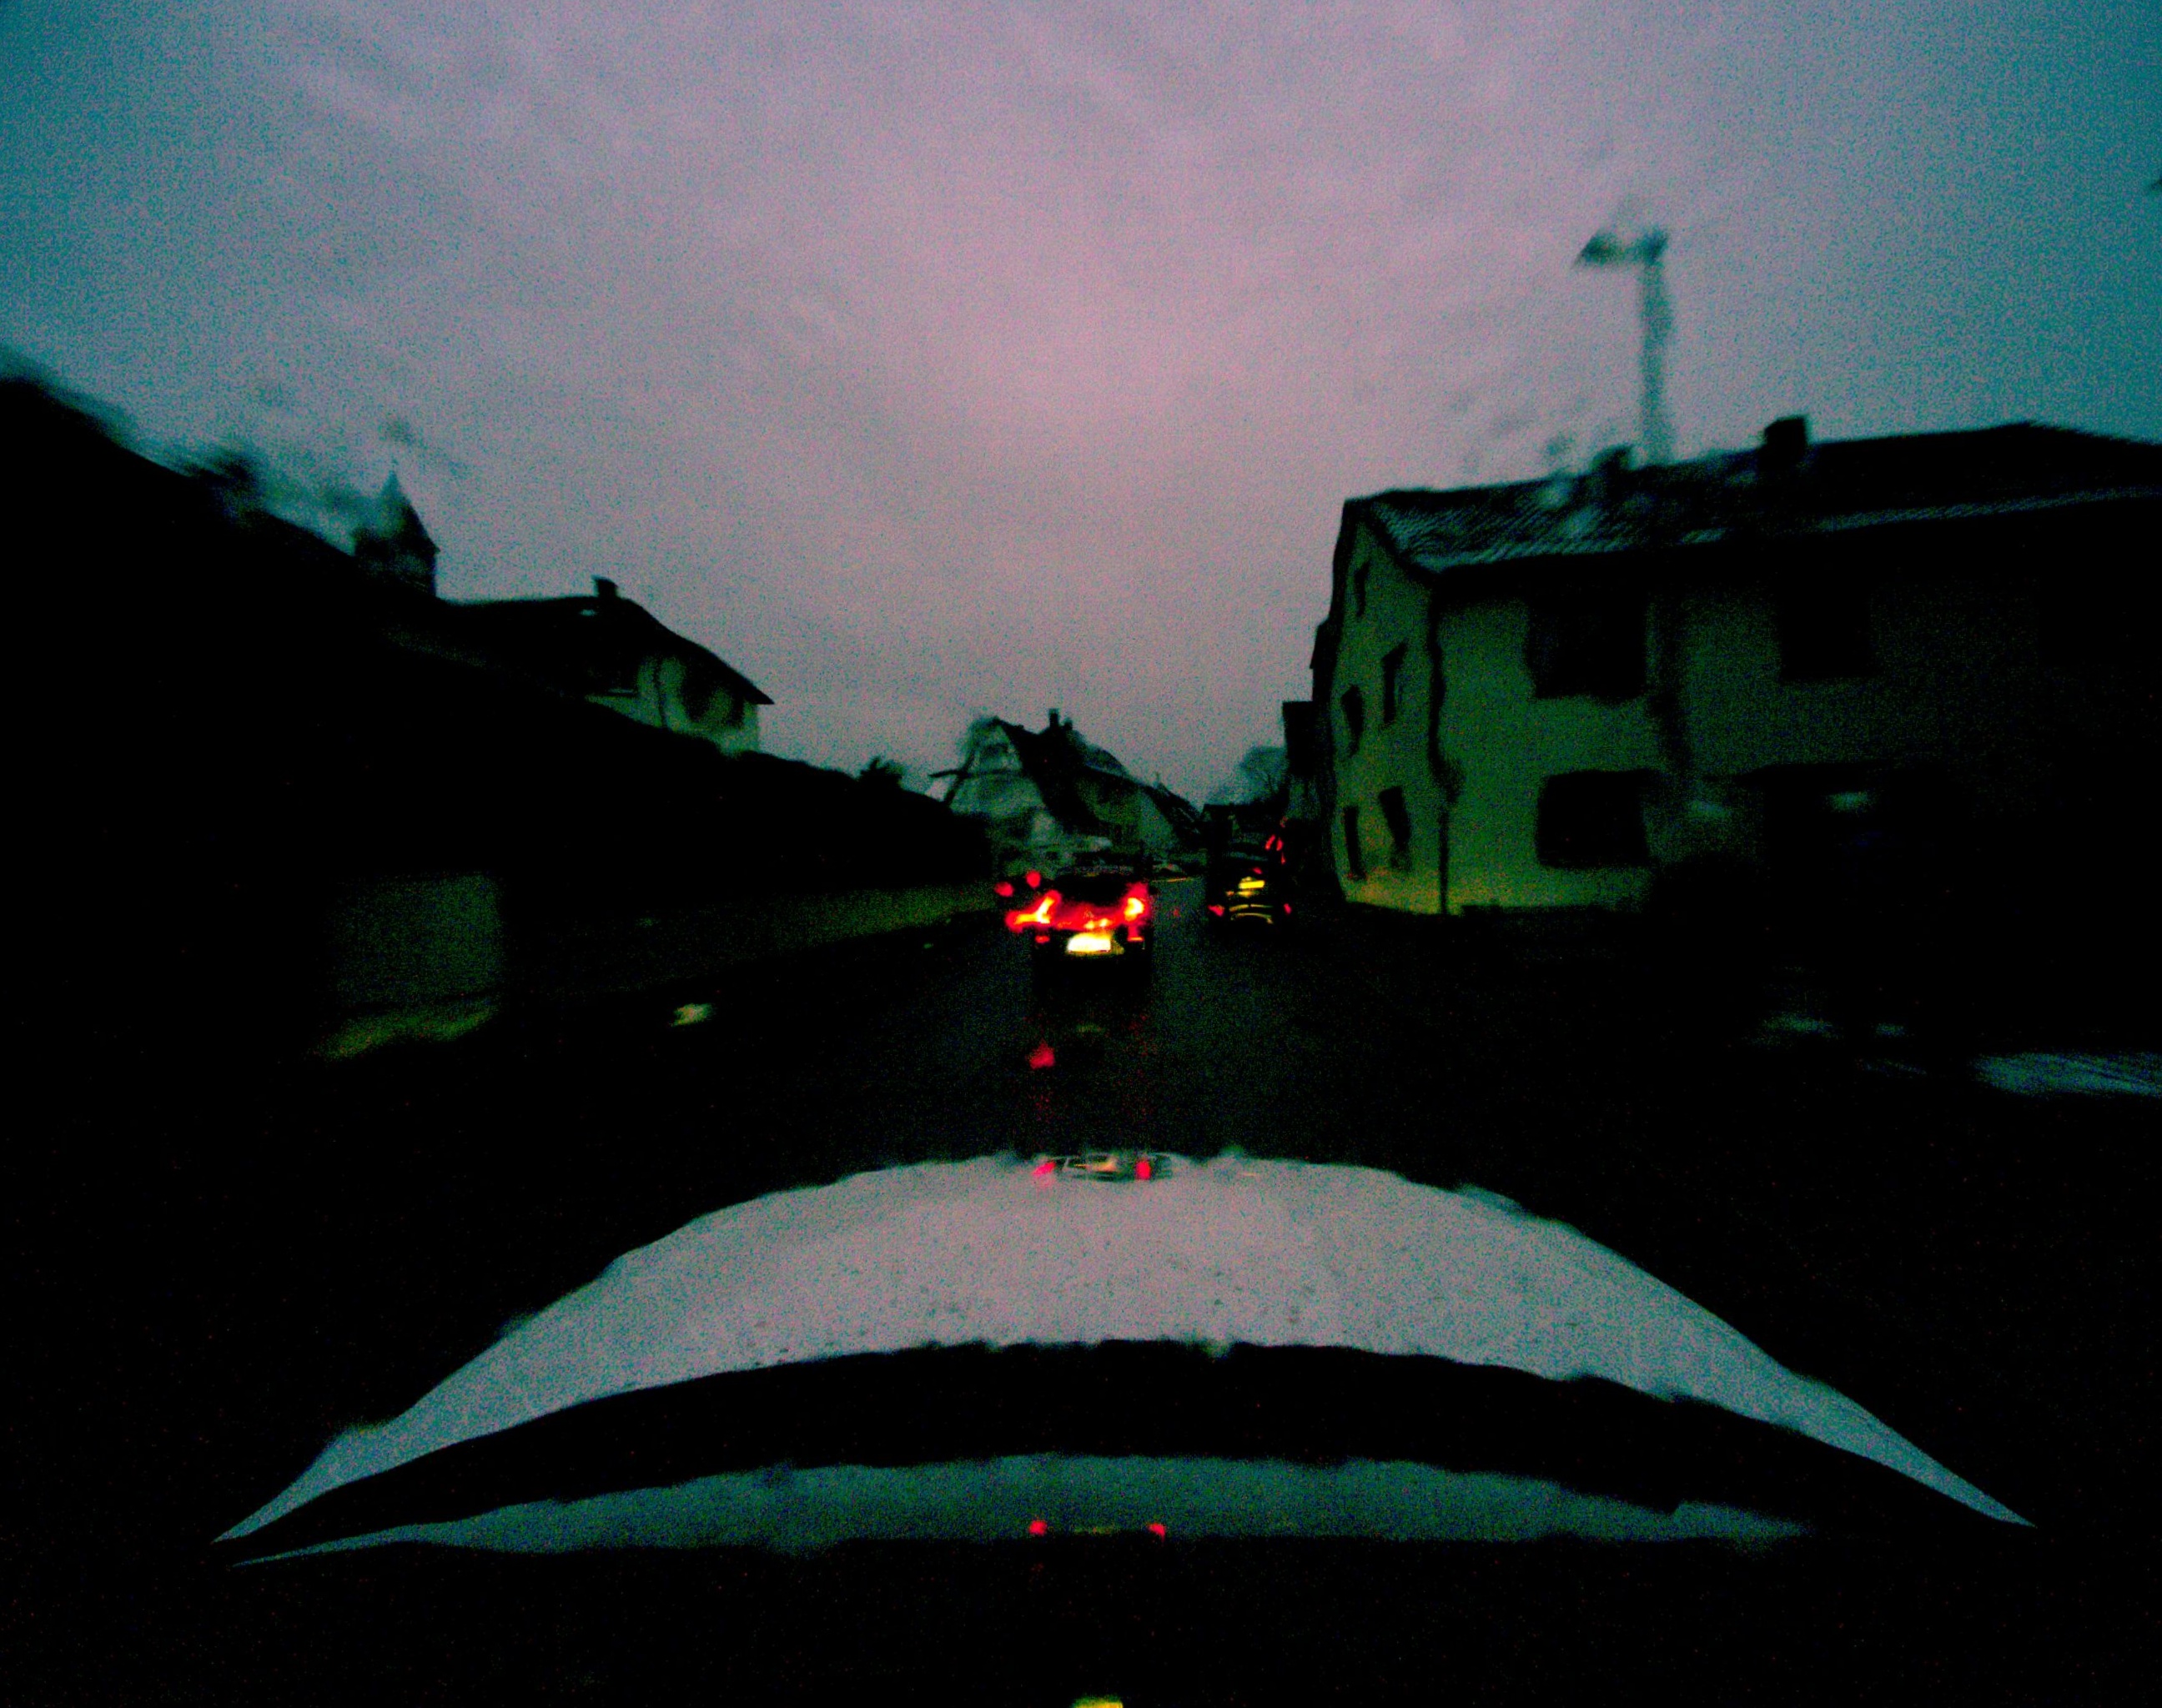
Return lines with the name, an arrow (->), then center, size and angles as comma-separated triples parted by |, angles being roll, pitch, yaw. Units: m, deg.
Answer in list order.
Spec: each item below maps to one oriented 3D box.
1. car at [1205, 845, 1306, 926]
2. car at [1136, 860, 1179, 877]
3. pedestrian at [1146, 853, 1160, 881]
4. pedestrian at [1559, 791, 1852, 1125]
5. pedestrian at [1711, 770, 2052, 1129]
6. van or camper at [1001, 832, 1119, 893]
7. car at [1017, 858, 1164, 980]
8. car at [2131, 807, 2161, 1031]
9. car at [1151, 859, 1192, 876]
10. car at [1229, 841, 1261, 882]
car -> 3.886, 0.667, 18.775 | 1.838, 1.637, 4.343 | 0, -1, 6
car -> 6.732, 1.274, 71.674 | 3.479, 1.507, 1.700 | -1, -1, 18
pedestrian -> 5.228, 0.969, 59.121 | 0.868, 2.014, 0.797 | -1, -1, 10
pedestrian -> 3.479, 0.543, 4.669 | 0.862, 1.667, 0.994 | -4, -1, 9
pedestrian -> 4.323, 0.481, 4.514 | 0.843, 1.733, 0.974 | -4, -1, 9
van or camper -> -1.144, 0.492, 45.871 | 6.014, 2.955, 2.416 | -4, -2, 16
car -> 0.235, 0.802, 11.916 | 1.788, 1.477, 4.003 | 0, -1, 3
car -> 8.666, 0.353, 4.641 | 3.204, 1.474, 1.588 | -3, -1, 1
car -> 8.248, 1.239, 74.007 | 3.484, 1.507, 1.698 | -1, -1, 12
car -> 10.223, 0.444, 50.566 | 1.802, 2.413, 3.764 | -1, -1, 13
